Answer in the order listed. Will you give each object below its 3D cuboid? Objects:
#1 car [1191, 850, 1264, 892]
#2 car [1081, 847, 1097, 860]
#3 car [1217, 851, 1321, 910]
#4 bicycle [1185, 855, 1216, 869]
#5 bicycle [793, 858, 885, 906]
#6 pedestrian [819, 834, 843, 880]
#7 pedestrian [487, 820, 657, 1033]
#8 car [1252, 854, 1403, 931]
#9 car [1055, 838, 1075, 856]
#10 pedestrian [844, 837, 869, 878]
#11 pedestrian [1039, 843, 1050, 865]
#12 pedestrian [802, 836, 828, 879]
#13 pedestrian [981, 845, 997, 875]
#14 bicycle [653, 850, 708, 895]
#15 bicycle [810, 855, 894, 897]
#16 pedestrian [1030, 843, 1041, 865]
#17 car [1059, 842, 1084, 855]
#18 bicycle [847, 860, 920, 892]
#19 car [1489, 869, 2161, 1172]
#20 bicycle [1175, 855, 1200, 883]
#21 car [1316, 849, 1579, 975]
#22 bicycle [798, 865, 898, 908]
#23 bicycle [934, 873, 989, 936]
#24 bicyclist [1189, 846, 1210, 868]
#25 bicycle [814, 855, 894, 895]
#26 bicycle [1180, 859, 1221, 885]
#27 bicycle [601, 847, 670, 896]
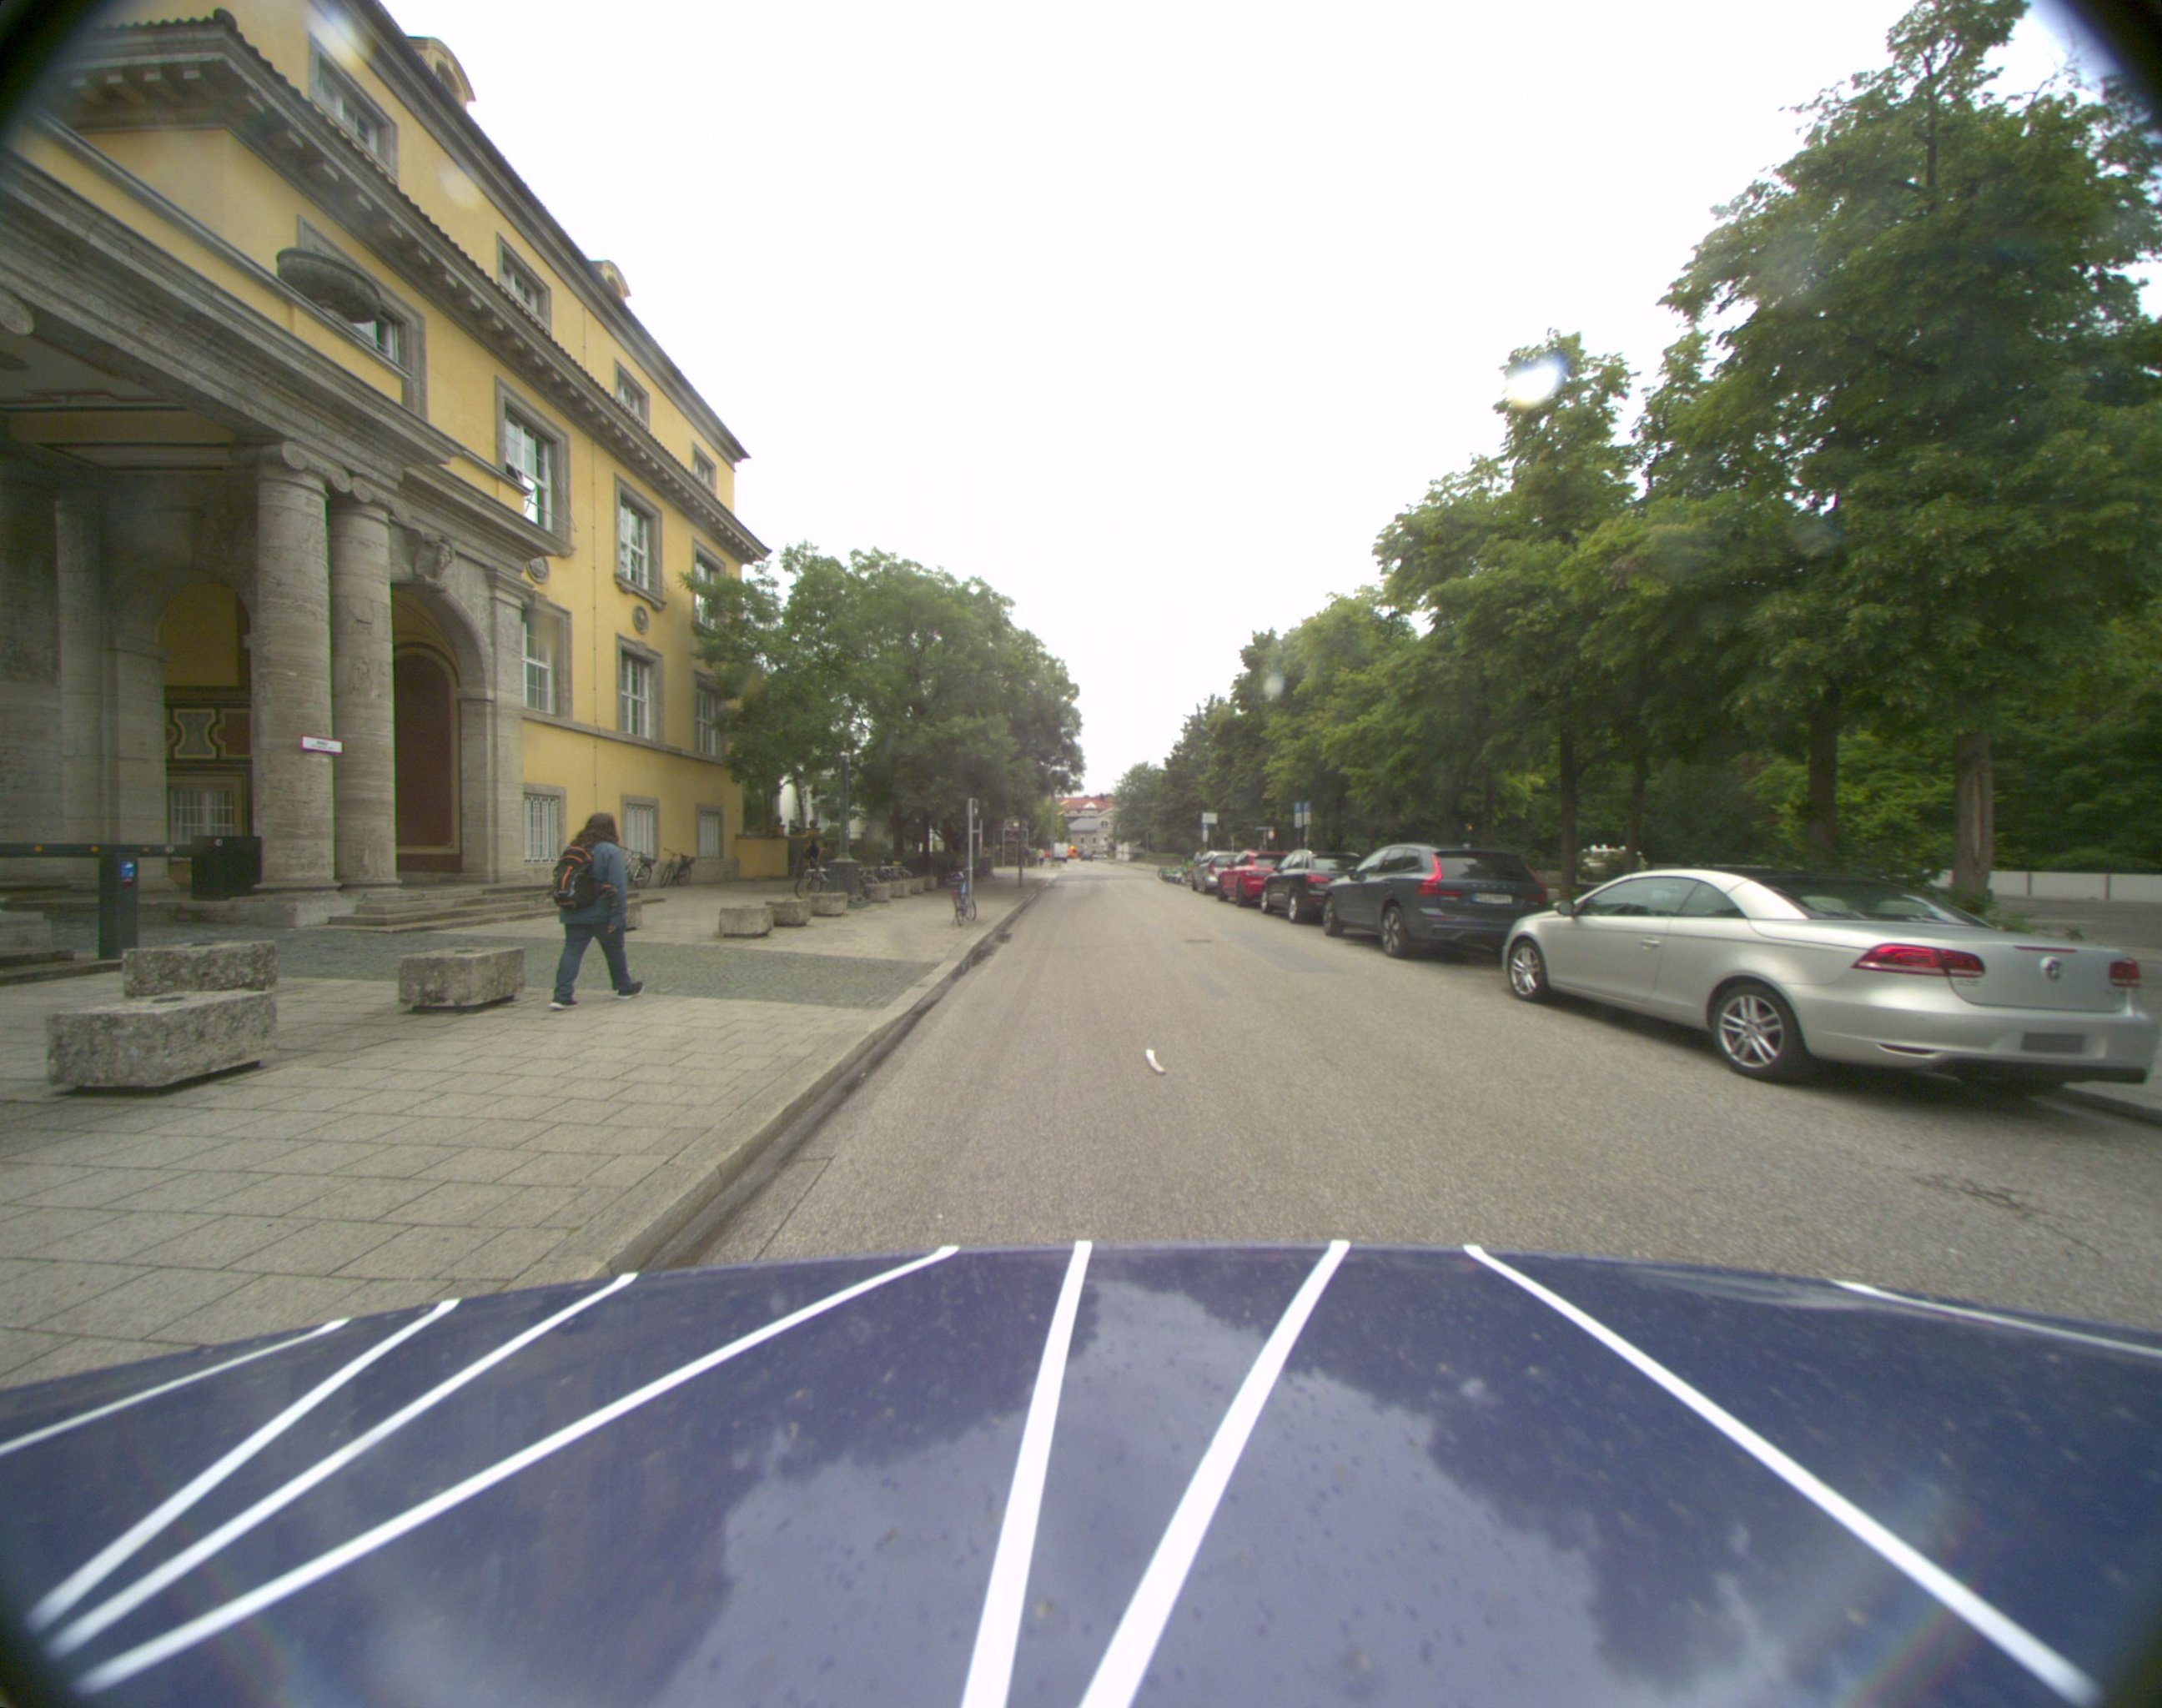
[{"bbox_3d":[5.426,0.585,28.690,1.998,1.452,4.364,1,1,1],"label":"car"},{"bbox_3d":[1.204,-0.098,114.799,2.222,1.840,4.729,-3,1,0],"label":"car"},{"bbox_3d":[5.318,0.685,22.076,1.998,1.535,4.364,1,1,1],"label":"car"},{"bbox_3d":[8.873,0.579,56.507,2.162,0.985,0.789,2,3,24],"label":"bicycle"},{"bbox_3d":[-6.548,0.766,20.647,2.265,1.088,0.601,5,1,-11],"label":"bicycle"},{"bbox_3d":[-10.418,0.118,31.672,0.659,1.855,0.820,3,2,0],"label":"pedestrian"},{"bbox_3d":[-4.446,0.591,6.726,0.790,1.736,1.055,0,1,0],"label":"pedestrian"},{"bbox_3d":[5.388,0.767,17.331,1.998,1.452,4.647,1,1,1],"label":"car"},{"bbox_3d":[-2.261,-0.971,104.148,2.236,2.289,4.727,-3,1,-5],"label":"car"},{"bbox_3d":[-10.381,0.140,35.109,0.782,1.855,1.035,3,2,0],"label":"pedestrian"},{"bbox_3d":[-3.108,-0.028,65.090,0.777,1.855,0.997,-3,2,-6],"label":"pedestrian"},{"bbox_3d":[-11.131,0.143,31.827,0.741,1.734,0.841,3,2,0],"label":"pedestrian"},{"bbox_3d":[-5.426,0.327,44.906,0.798,1.722,0.660,-3,2,-1],"label":"pedestrian"},{"bbox_3d":[-12.417,0.549,23.630,0.601,1.299,2.164,0,1,0],"label":"bicycle"},{"bbox_3d":[-6.761,0.651,22.568,2.265,1.053,0.601,5,1,-11],"label":"bicycle"},{"bbox_3d":[-3.929,0.008,65.394,0.777,1.855,0.996,-3,2,-8],"label":"pedestrian"},{"bbox_3d":[-2.110,-1.260,167.007,4.974,2.521,2.578,-2,2,43],"label":"car"},{"bbox_3d":[-6.649,0.740,25.636,2.262,1.005,0.602,2,0,2],"label":"bicycle"},{"bbox_3d":[5.263,0.919,6.051,1.762,1.392,4.217,3,1,1],"label":"car"},{"bbox_3d":[4.995,0.700,35.659,0.574,1.275,1.421,-1,1,33],"label":"bicycle"},{"bbox_3d":[5.328,0.716,11.875,1.998,1.574,4.522,1,1,1],"label":"car"},{"bbox_3d":[-5.982,0.824,19.604,2.370,1.000,0.677,2,1,-9],"label":"bicycle"},{"bbox_3d":[-2.418,0.984,15.650,0.762,1.094,2.263,2,1,-1],"label":"bicycle"},{"bbox_3d":[8.839,0.221,56.496,1.303,1.537,0.893,2,4,24],"label":"bicyclist"},{"bbox_3d":[-6.983,0.649,23.479,2.265,1.018,0.601,5,1,-11],"label":"bicycle"},{"bbox_3d":[5.352,0.790,34.134,1.700,1.101,0.598,-1,1,-8],"label":"bicycle"},{"bbox_3d":[-12.421,0.462,21.271,0.601,1.299,2.263,0,1,0],"label":"bicycle"}]
